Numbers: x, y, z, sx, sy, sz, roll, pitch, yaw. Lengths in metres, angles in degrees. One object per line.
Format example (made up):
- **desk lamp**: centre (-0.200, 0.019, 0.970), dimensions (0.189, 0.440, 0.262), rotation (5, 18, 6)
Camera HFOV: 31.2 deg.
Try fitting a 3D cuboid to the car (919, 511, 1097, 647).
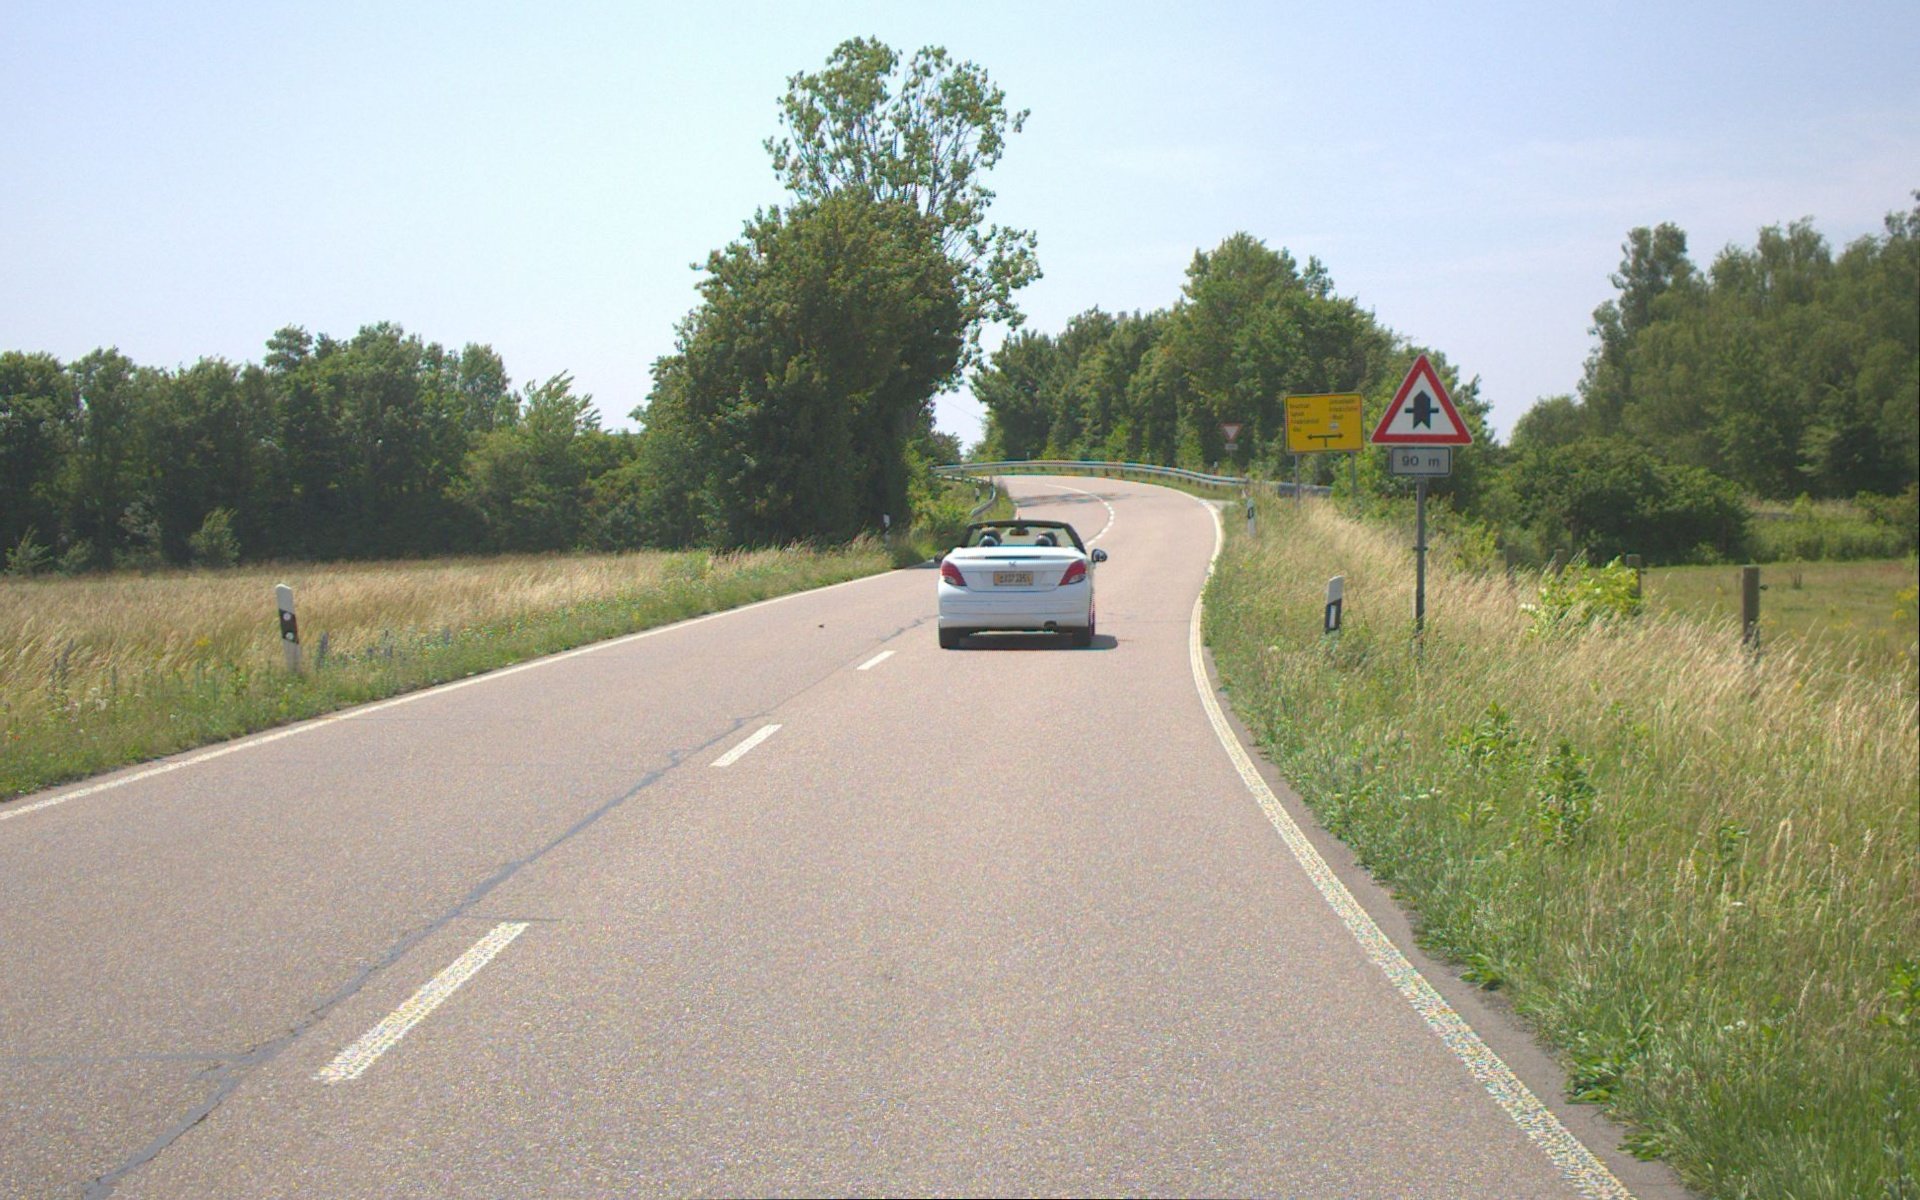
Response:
- **car**: centre (0.600, -0.274, 38.975), dimensions (1.851, 1.374, 4.000), rotation (-1, 2, 3)
